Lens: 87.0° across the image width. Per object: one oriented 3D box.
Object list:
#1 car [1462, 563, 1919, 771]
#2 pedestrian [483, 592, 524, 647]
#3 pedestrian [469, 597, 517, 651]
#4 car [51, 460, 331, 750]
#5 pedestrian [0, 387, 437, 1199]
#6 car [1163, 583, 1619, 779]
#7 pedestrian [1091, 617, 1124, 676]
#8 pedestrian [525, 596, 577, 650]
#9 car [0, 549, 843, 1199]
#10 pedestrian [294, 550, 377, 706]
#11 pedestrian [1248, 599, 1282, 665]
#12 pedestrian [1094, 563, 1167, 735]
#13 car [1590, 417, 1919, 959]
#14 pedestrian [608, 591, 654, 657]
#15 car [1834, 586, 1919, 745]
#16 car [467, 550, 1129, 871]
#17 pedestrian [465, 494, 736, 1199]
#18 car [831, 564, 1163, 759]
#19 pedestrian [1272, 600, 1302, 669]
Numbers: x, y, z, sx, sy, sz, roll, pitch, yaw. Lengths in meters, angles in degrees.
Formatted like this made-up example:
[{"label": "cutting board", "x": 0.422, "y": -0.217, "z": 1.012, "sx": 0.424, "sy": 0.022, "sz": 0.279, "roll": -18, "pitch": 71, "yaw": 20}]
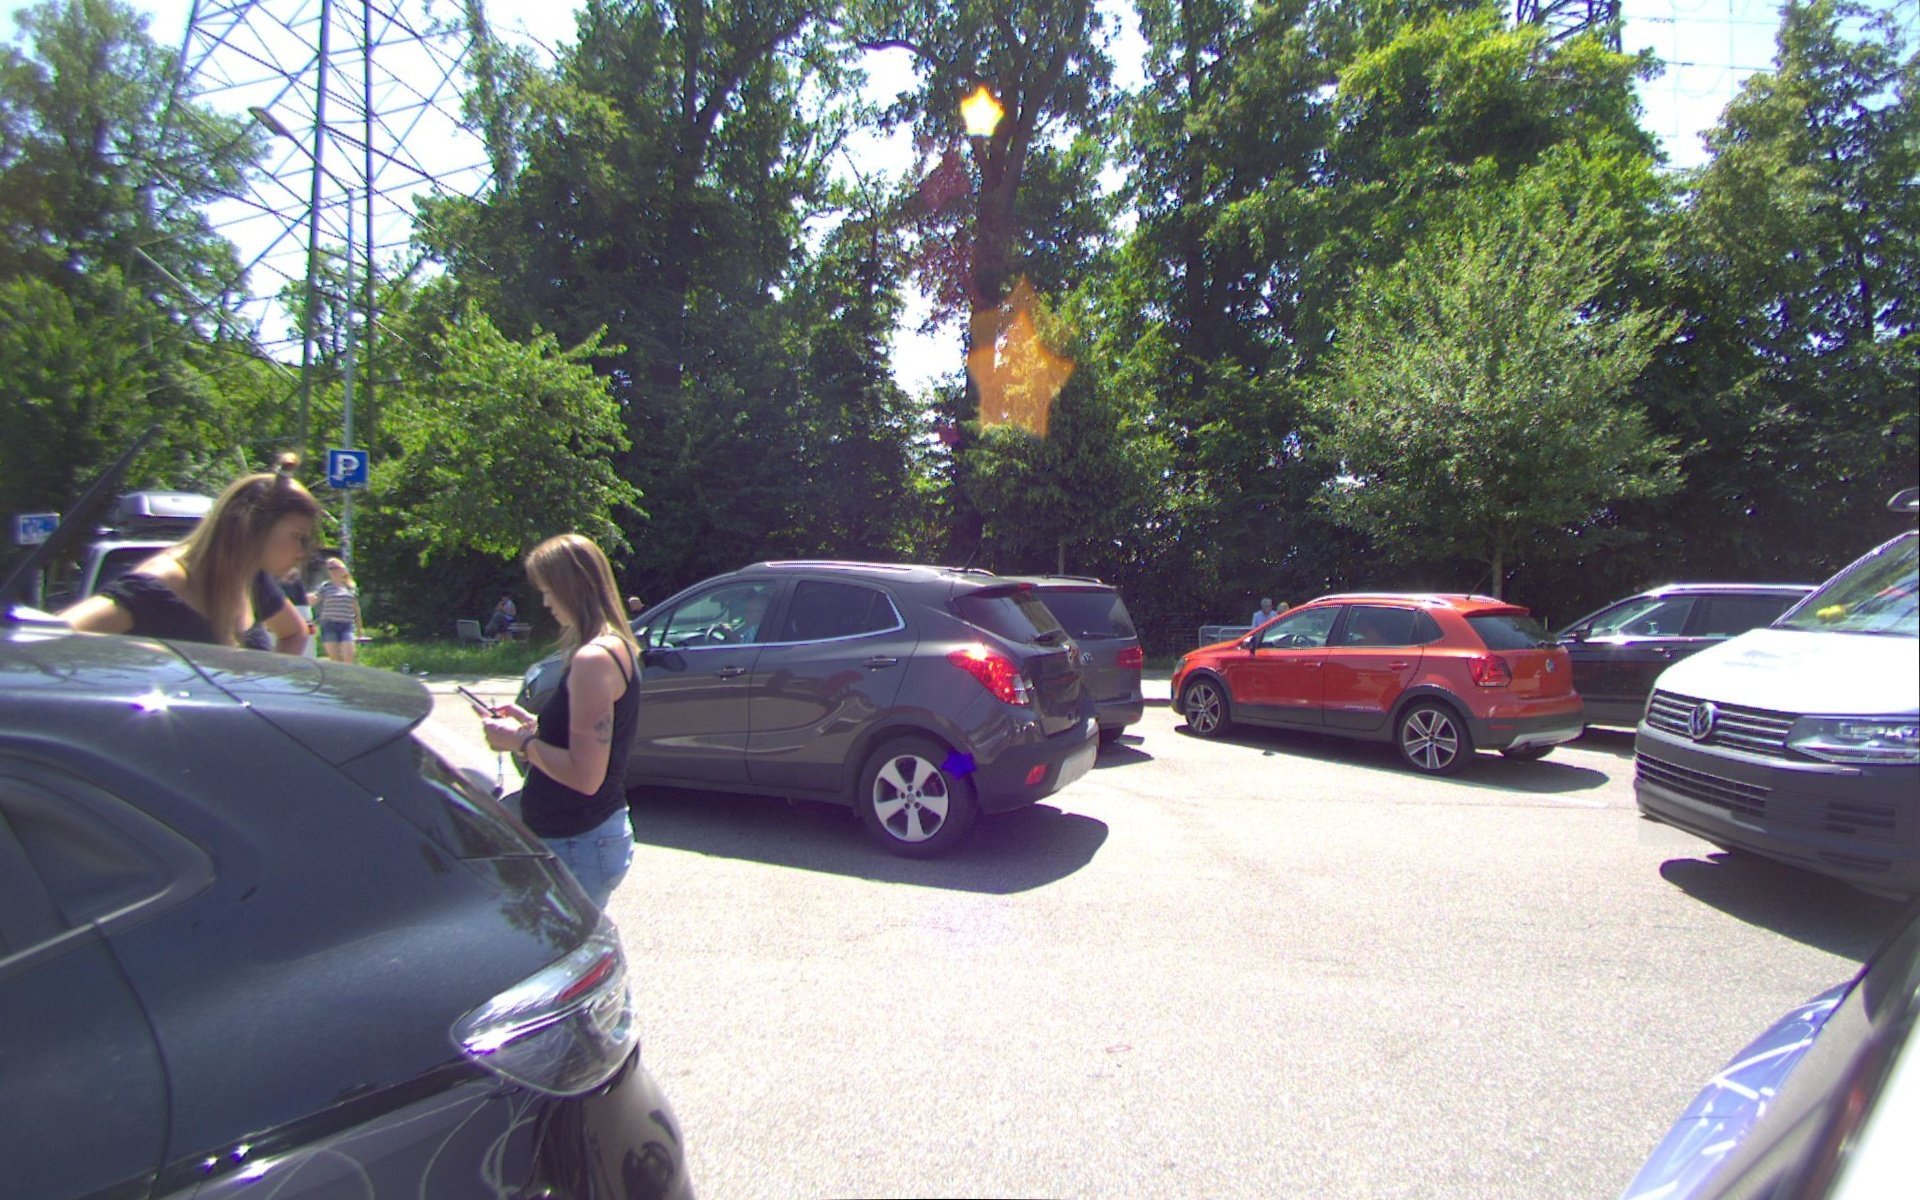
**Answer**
[{"label": "car", "x": 7.171, "y": 0.524, "z": 9.737, "sx": 1.679, "sy": 1.637, "sz": 3.863, "roll": 1, "pitch": 0, "yaw": -40}, {"label": "pedestrian", "x": -11.064, "y": 0.461, "z": 24.545, "sx": 0.539, "sy": 1.318, "sz": 0.758, "roll": 0, "pitch": 0, "yaw": 37}, {"label": "pedestrian", "x": -10.477, "y": 0.519, "z": 22.707, "sx": 0.785, "sy": 1.178, "sz": 0.696, "roll": 0, "pitch": 0, "yaw": 39}, {"label": "car", "x": -8.395, "y": 0.030, "z": 10.836, "sx": 1.897, "sy": 2.400, "sz": 4.963, "roll": 1, "pitch": 0, "yaw": -43}, {"label": "pedestrian", "x": -1.790, "y": 0.506, "z": 2.528, "sx": 0.478, "sy": 1.883, "sz": 0.912, "roll": 1, "pitch": 0, "yaw": 0}, {"label": "car", "x": 3.880, "y": 0.609, "z": 9.682, "sx": 1.588, "sy": 1.485, "sz": 3.751, "roll": 1, "pitch": 0, "yaw": -34}, {"label": "pedestrian", "x": 2.293, "y": 0.711, "z": 15.740, "sx": 0.494, "sy": 0.890, "sz": 0.512, "roll": 0, "pitch": -1, "yaw": 10}, {"label": "pedestrian", "x": -9.548, "y": 0.521, "z": 23.635, "sx": 0.810, "sy": 1.201, "sz": 0.836, "roll": 0, "pitch": 0, "yaw": 40}, {"label": "car", "x": -2.054, "y": 0.704, "z": 0.765, "sx": 1.776, "sy": 1.476, "sz": 3.627, "roll": 0, "pitch": 1, "yaw": 44}, {"label": "pedestrian", "x": -7.981, "y": 0.331, "z": 12.925, "sx": 0.763, "sy": 1.903, "sz": 0.838, "roll": 0, "pitch": 0, "yaw": -42}, {"label": "pedestrian", "x": 5.748, "y": 0.592, "z": 19.070, "sx": 0.433, "sy": 1.207, "sz": 0.414, "roll": 0, "pitch": 0, "yaw": -30}, {"label": "pedestrian", "x": 1.775, "y": 0.490, "z": 10.577, "sx": 0.576, "sy": 1.744, "sz": 0.483, "roll": 0, "pitch": 0, "yaw": -20}, {"label": "car", "x": 6.251, "y": 0.364, "z": 4.704, "sx": 5.336, "sy": 2.131, "sz": 1.842, "roll": 1, "pitch": 1, "yaw": 4}, {"label": "pedestrian", "x": -6.931, "y": 0.486, "z": 21.356, "sx": 0.539, "sy": 1.354, "sz": 0.758, "roll": 0, "pitch": 0, "yaw": 37}, {"label": "car", "x": 10.385, "y": 0.629, "z": 8.911, "sx": 1.813, "sy": 1.473, "sz": 3.776, "roll": 1, "pitch": 0, "yaw": -36}, {"label": "car", "x": -1.098, "y": 0.546, "z": 6.867, "sx": 4.122, "sy": 1.637, "sz": 1.823, "roll": 1, "pitch": 0, "yaw": 24}, {"label": "pedestrian", "x": -0.926, "y": 0.569, "z": 2.604, "sx": 0.477, "sy": 1.614, "sz": 0.502, "roll": 1, "pitch": -1, "yaw": -44}, {"label": "car", "x": 0.177, "y": 0.501, "z": 10.630, "sx": 1.670, "sy": 1.637, "sz": 3.912, "roll": 0, "pitch": 0, "yaw": -30}, {"label": "pedestrian", "x": 5.783, "y": 0.602, "z": 17.895, "sx": 0.348, "sy": 1.207, "sz": 0.367, "roll": 0, "pitch": 0, "yaw": -20}]
